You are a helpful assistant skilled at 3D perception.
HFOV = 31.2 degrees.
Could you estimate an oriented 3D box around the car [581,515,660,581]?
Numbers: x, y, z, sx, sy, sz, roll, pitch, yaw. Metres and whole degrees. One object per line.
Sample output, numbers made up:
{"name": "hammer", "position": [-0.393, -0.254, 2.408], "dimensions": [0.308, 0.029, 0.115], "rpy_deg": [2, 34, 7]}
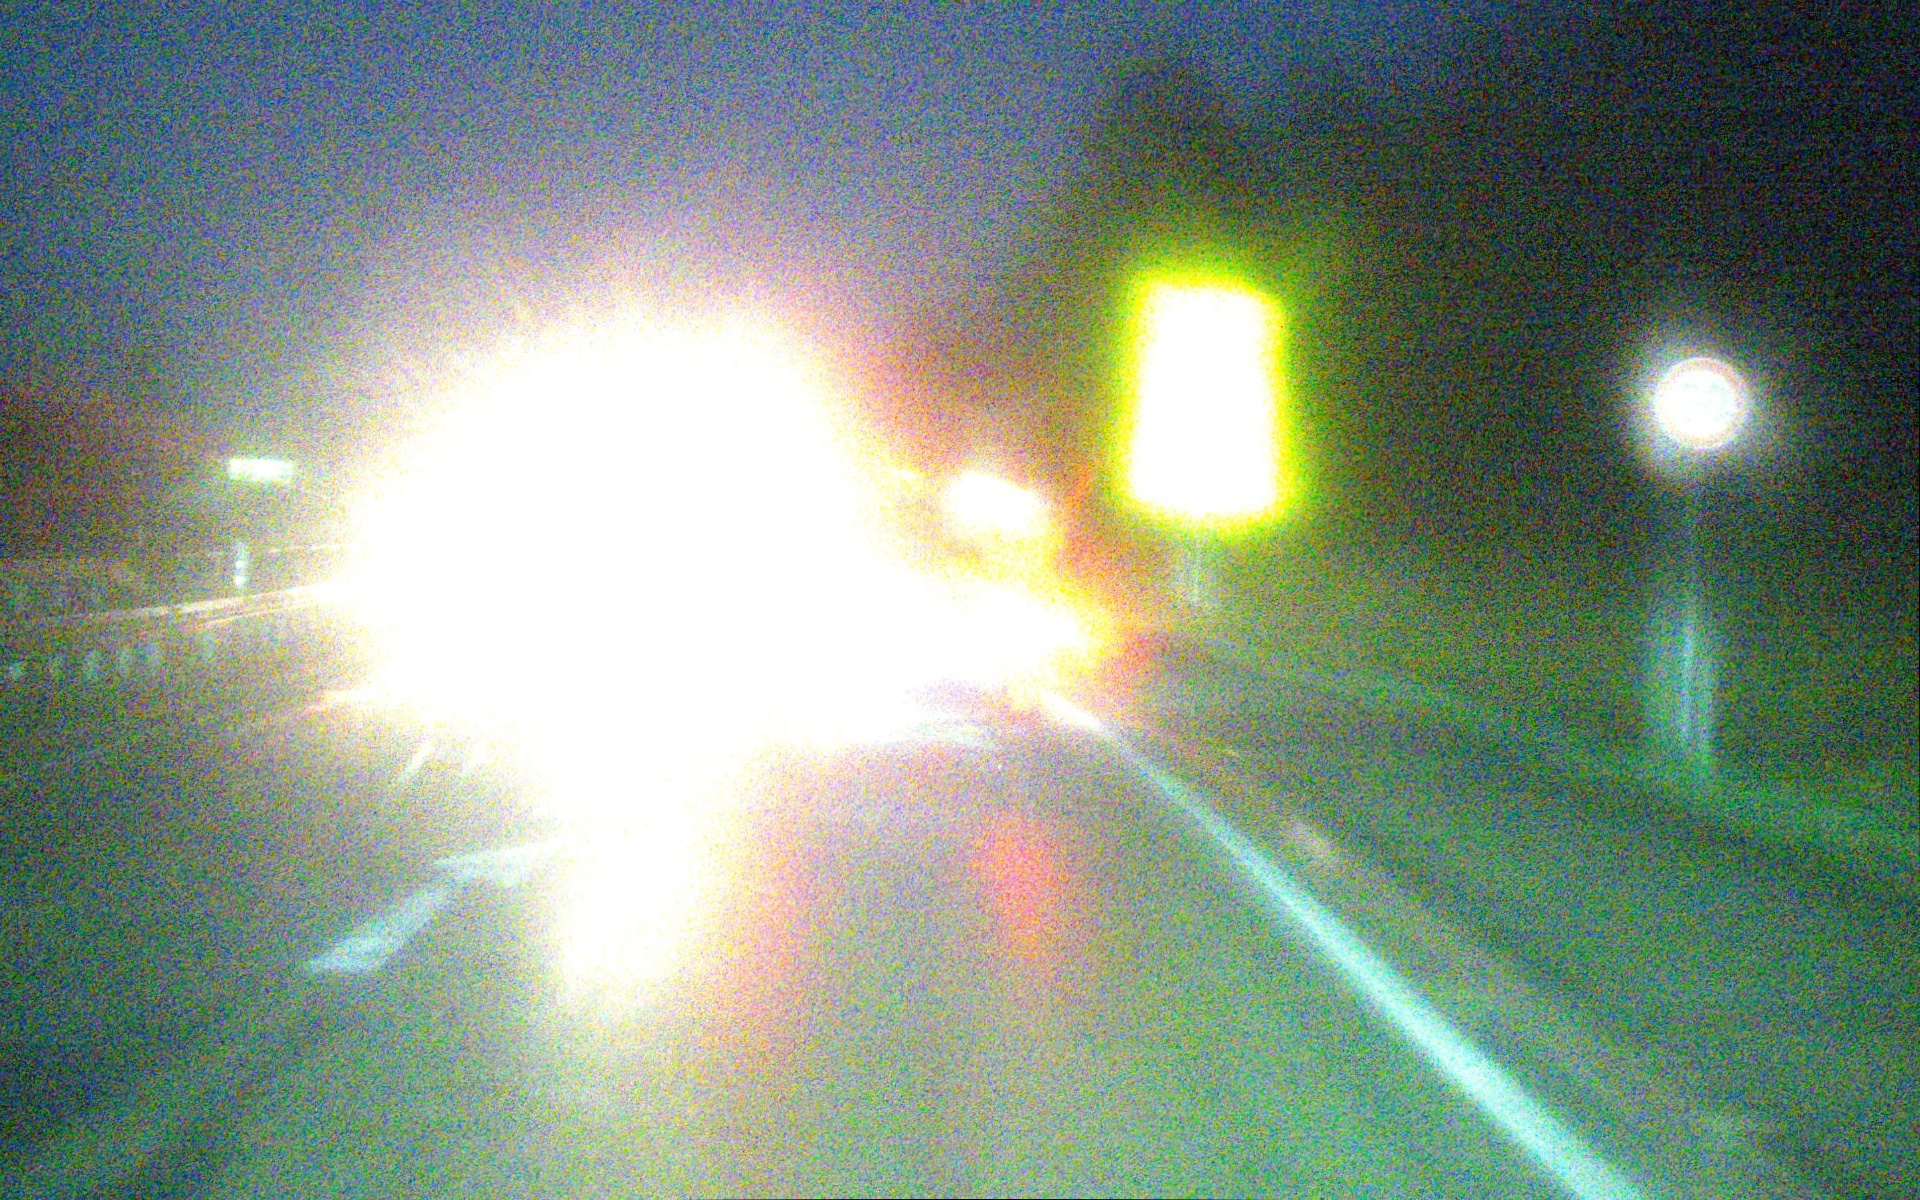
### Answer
{"name": "car", "position": [-8.765, -1.368, 89.018], "dimensions": [1.862, 1.539, 4.230], "rpy_deg": [1, 2, -4]}

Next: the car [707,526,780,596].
{"name": "car", "position": [-6.102, -1.120, 97.369], "dimensions": [1.993, 1.908, 4.001], "rpy_deg": [1, 1, -3]}

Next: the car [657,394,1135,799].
{"name": "car", "position": [-0.485, -0.077, 22.616], "dimensions": [2.715, 2.299, 6.101], "rpy_deg": [0, 1, -2]}
